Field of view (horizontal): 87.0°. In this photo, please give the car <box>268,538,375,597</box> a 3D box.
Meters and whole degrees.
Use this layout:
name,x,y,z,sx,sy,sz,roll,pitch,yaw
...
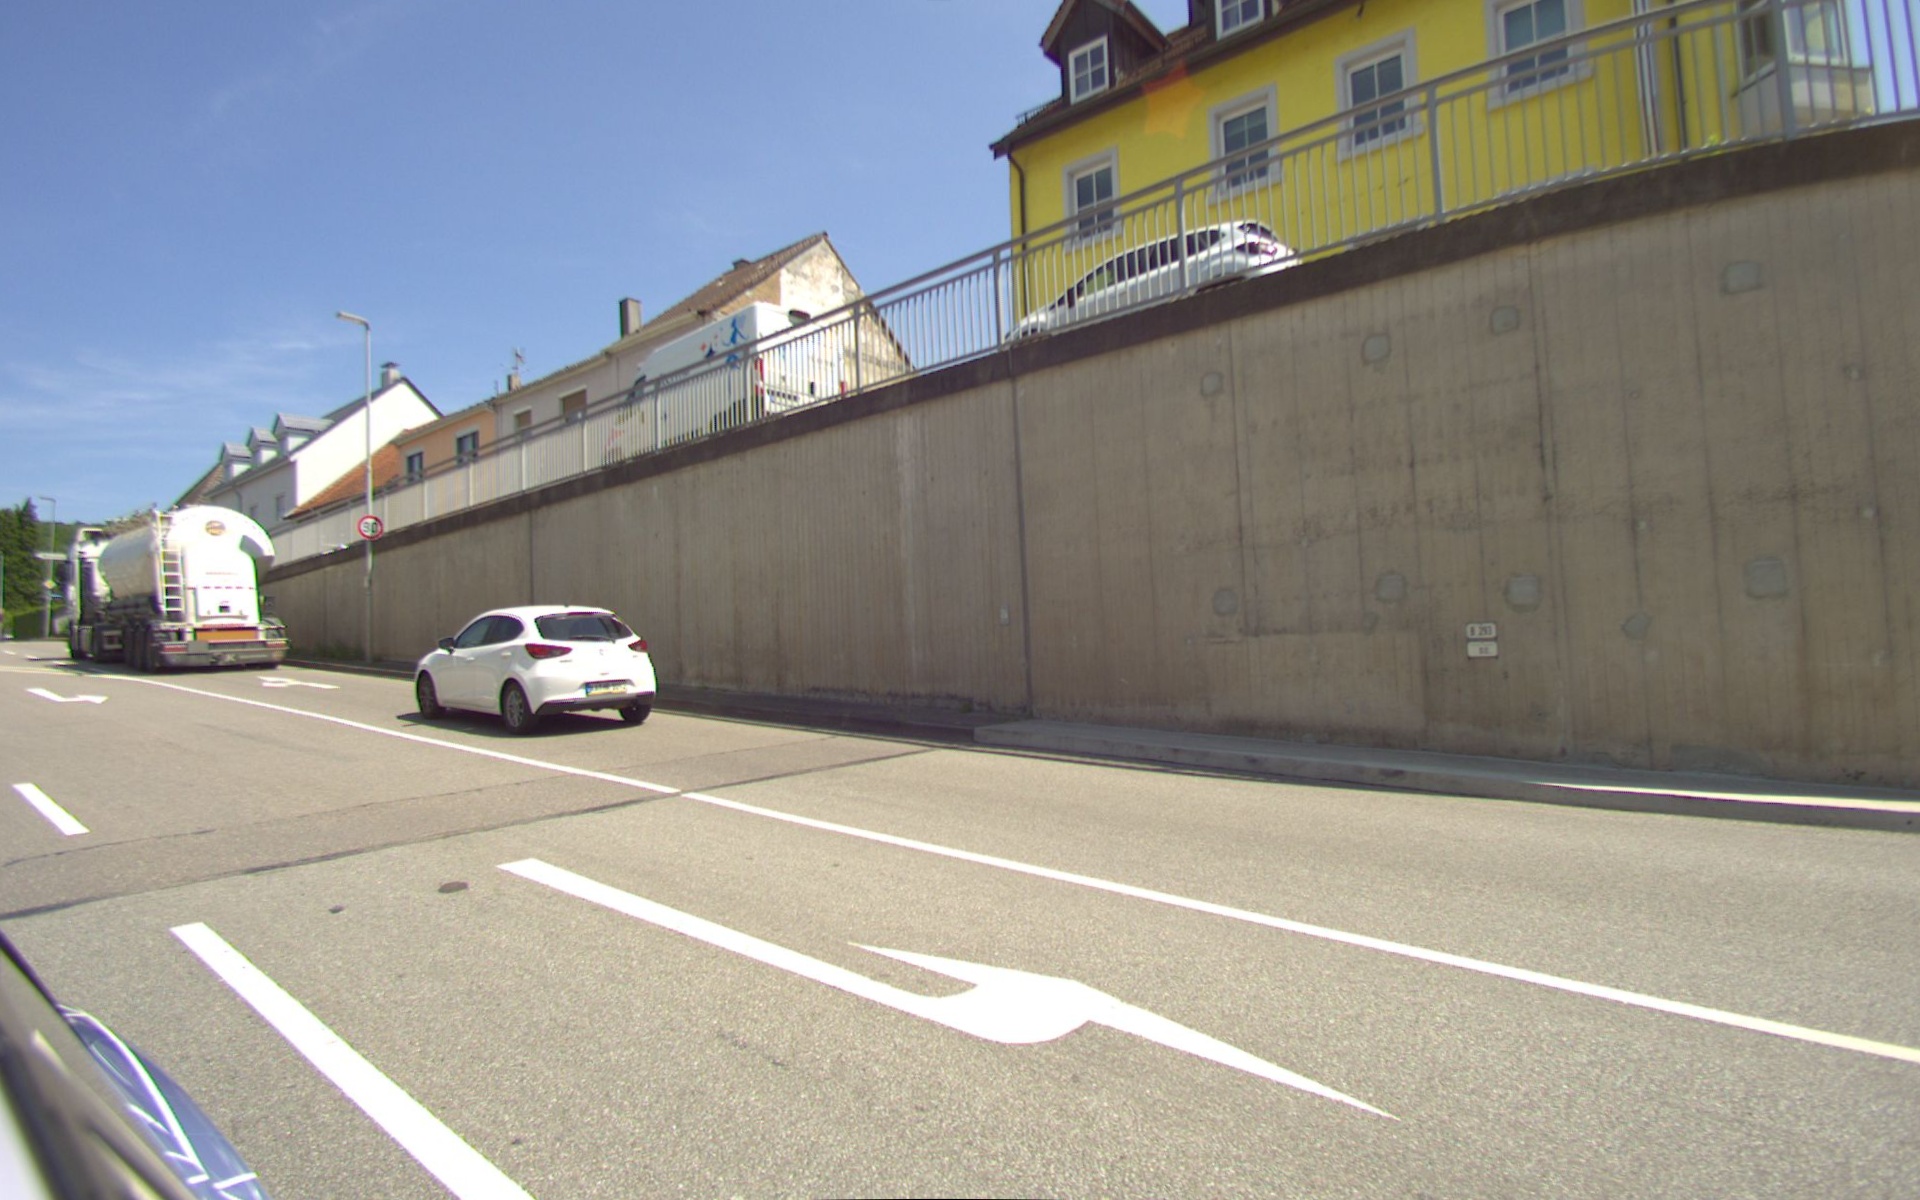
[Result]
name,x,y,z,sx,sy,sz,roll,pitch,yaw
car,-20.946,-1.002,33.138,4.306,1.474,1.794,-6,-4,41

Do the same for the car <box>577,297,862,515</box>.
name,x,y,z,sx,sy,sz,roll,pitch,yaw
car,-4.510,-3.236,18.325,5.658,2.556,2.044,-5,-4,41

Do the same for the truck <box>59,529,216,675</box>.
name,x,y,z,sx,sy,sz,roll,pitch,yaw
truck,-24.594,0.120,30.159,6.578,3.890,2.633,-1,-1,42

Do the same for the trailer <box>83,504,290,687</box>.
name,x,y,z,sx,sy,sz,roll,pitch,yaw
trailer,-20.285,-0.024,26.265,9.344,3.994,2.582,-1,-1,42

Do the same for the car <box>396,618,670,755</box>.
name,x,y,z,sx,sy,sz,roll,pitch,yaw
car,-5.553,0.968,12.907,4.093,1.451,1.664,-1,-1,42

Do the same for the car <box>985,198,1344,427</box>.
name,x,y,z,sx,sy,sz,roll,pitch,yaw
car,2.427,-3.367,12.596,4.039,1.512,1.603,-5,-3,39
